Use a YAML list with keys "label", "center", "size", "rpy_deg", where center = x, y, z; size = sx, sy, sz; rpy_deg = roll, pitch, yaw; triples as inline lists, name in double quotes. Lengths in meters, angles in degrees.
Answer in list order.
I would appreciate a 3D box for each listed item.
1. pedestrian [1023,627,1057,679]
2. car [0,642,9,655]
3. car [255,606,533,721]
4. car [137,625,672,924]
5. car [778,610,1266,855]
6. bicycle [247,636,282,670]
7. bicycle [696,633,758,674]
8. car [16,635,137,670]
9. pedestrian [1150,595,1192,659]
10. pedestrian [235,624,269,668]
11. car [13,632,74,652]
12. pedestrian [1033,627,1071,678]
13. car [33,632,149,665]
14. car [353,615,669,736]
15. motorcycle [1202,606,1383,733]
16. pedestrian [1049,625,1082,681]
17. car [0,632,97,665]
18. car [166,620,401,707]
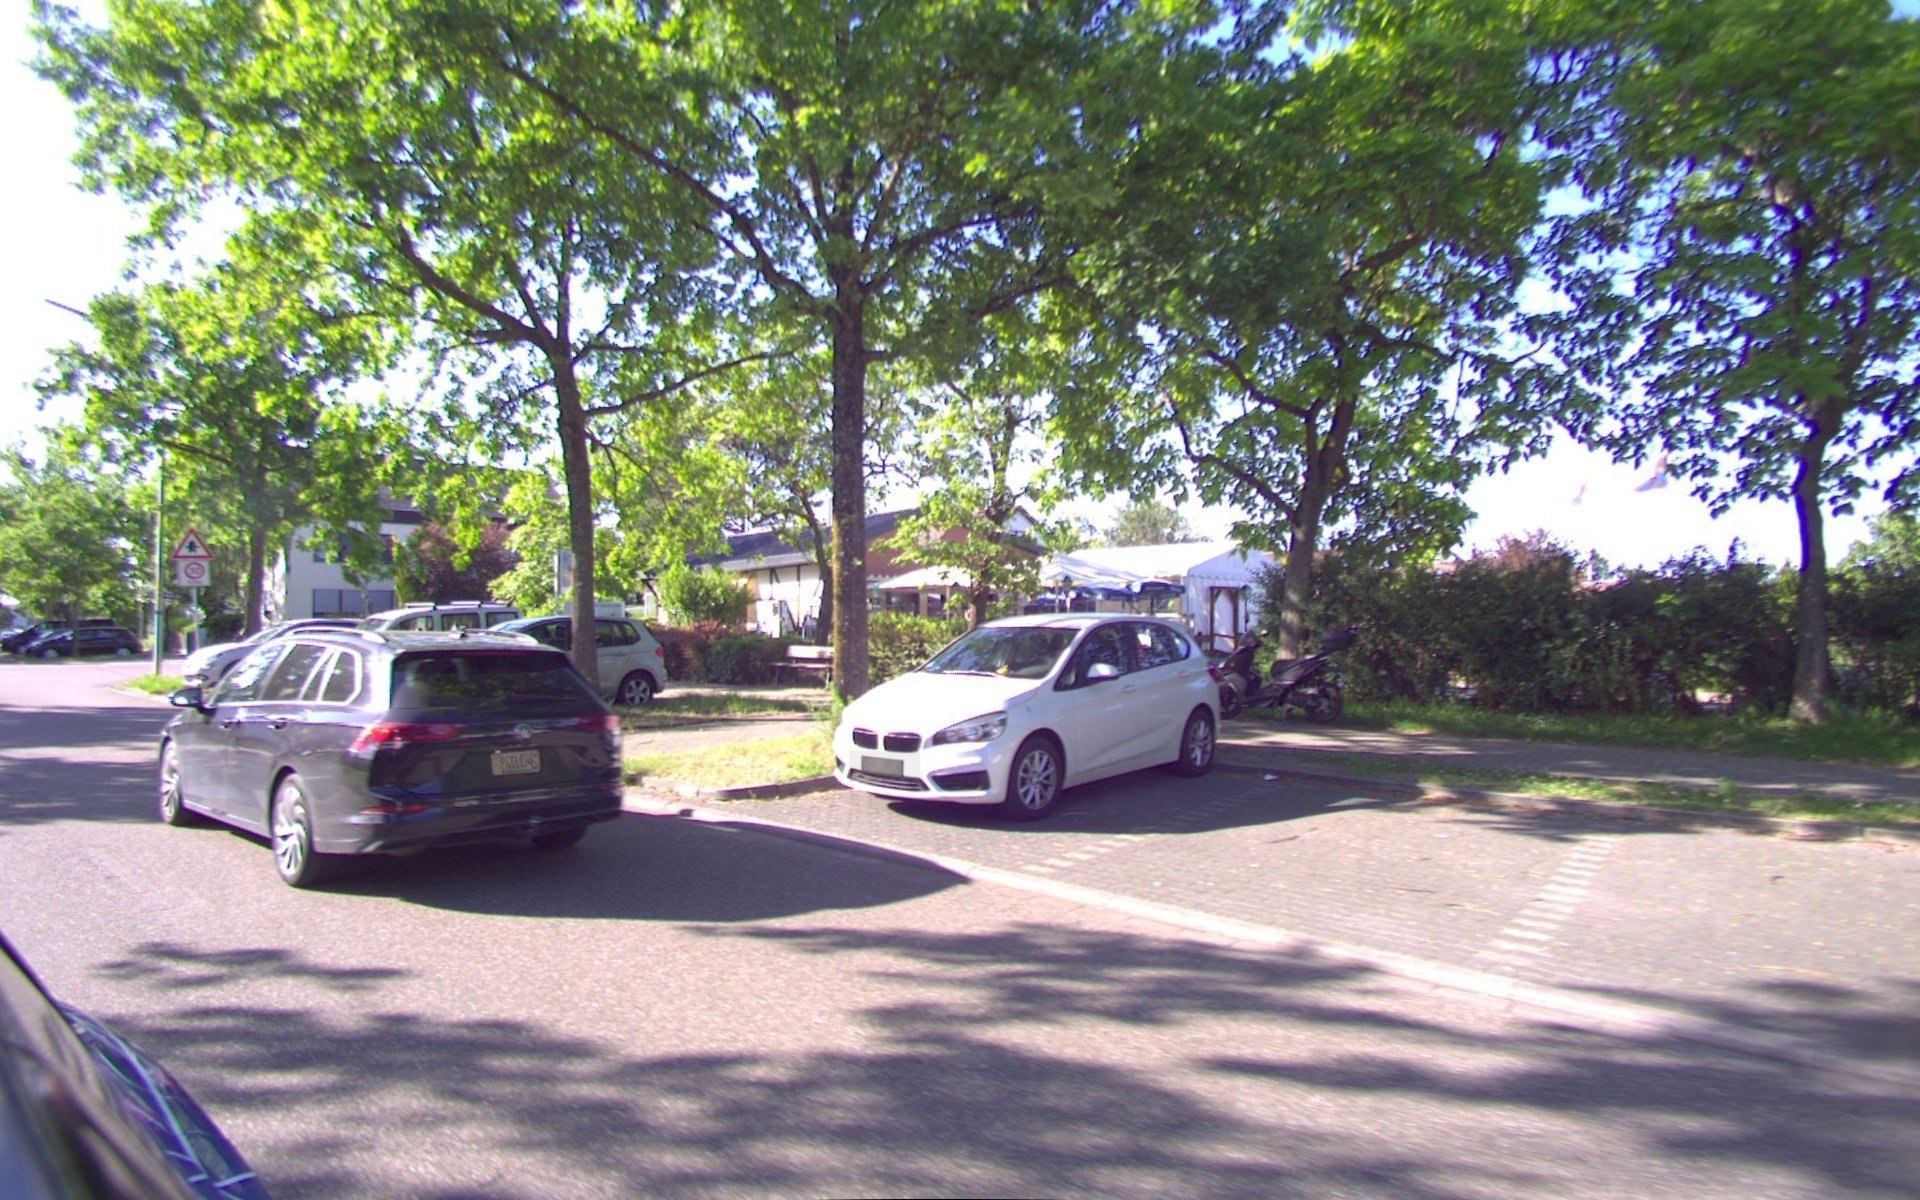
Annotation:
- label: "pedestrian"
  center: [2.127, 1.400, 26.910]
  size: [0.859, 1.371, 0.664]
  rpy_deg: [0, -2, 8]
- label: "car"
  center: [-137.487, 6.949, 144.836]
  size: [1.912, 1.791, 4.043]
  rpy_deg: [2, -3, -42]
- label: "car"
  center: [-10.629, 1.101, 19.230]
  size: [1.997, 1.898, 4.185]
  rpy_deg: [-2, -1, 40]
- label: "car"
  center: [-3.965, 0.913, 6.872]
  size: [4.423, 1.413, 1.667]
  rpy_deg: [-2, -4, 40]
- label: "car"
  center: [0.775, 0.918, 9.049]
  size: [2.087, 1.568, 4.365]
  rpy_deg: [-2, -1, 42]
- label: "bicycle"
  center: [-24.945, 1.885, 36.282]
  size: [1.892, 1.096, 0.632]
  rpy_deg: [1, -1, 44]
- label: "bicycle"
  center: [-6.439, 1.462, 27.935]
  size: [1.880, 1.096, 0.633]
  rpy_deg: [-2, -3, 38]
- label: "car"
  center: [-39.677, 2.319, 45.501]
  size: [3.978, 1.490, 1.943]
  rpy_deg: [2, -3, -44]
- label: "pedestrian"
  center: [4.776, 0.610, 22.879]
  size: [0.635, 1.425, 0.667]
  rpy_deg: [1, -2, -32]
- label: "pedestrian"
  center: [-25.277, 1.635, 36.130]
  size: [0.866, 1.554, 0.719]
  rpy_deg: [1, -1, 38]
- label: "car"
  center: [-82.001, 3.747, 90.601]
  size: [3.978, 1.791, 1.943]
  rpy_deg: [2, -3, -44]
- label: "pedestrian"
  center: [2.489, 1.409, 27.464]
  size: [0.654, 1.345, 0.872]
  rpy_deg: [1, -2, -29]
- label: "car"
  center: [-41.511, 2.289, 48.392]
  size: [1.941, 1.490, 3.983]
  rpy_deg: [-2, -3, 42]
- label: "car"
  center: [-6.852, 1.058, 15.751]
  size: [1.865, 1.568, 4.092]
  rpy_deg: [-2, -1, 42]
- label: "motorcycle"
  center: [4.138, 0.827, 12.685]
  size: [1.990, 1.443, 0.730]
  rpy_deg: [-2, 1, 41]
- label: "pedestrian"
  center: [2.745, 1.366, 26.275]
  size: [0.661, 1.425, 0.863]
  rpy_deg: [-1, -2, 21]
- label: "car"
  center: [-50.288, 2.649, 55.810]
  size: [3.978, 1.791, 1.943]
  rpy_deg: [2, -3, -44]
- label: "car"
  center: [-14.925, 1.328, 22.482]
  size: [1.876, 1.655, 4.019]
  rpy_deg: [-2, -1, 43]
